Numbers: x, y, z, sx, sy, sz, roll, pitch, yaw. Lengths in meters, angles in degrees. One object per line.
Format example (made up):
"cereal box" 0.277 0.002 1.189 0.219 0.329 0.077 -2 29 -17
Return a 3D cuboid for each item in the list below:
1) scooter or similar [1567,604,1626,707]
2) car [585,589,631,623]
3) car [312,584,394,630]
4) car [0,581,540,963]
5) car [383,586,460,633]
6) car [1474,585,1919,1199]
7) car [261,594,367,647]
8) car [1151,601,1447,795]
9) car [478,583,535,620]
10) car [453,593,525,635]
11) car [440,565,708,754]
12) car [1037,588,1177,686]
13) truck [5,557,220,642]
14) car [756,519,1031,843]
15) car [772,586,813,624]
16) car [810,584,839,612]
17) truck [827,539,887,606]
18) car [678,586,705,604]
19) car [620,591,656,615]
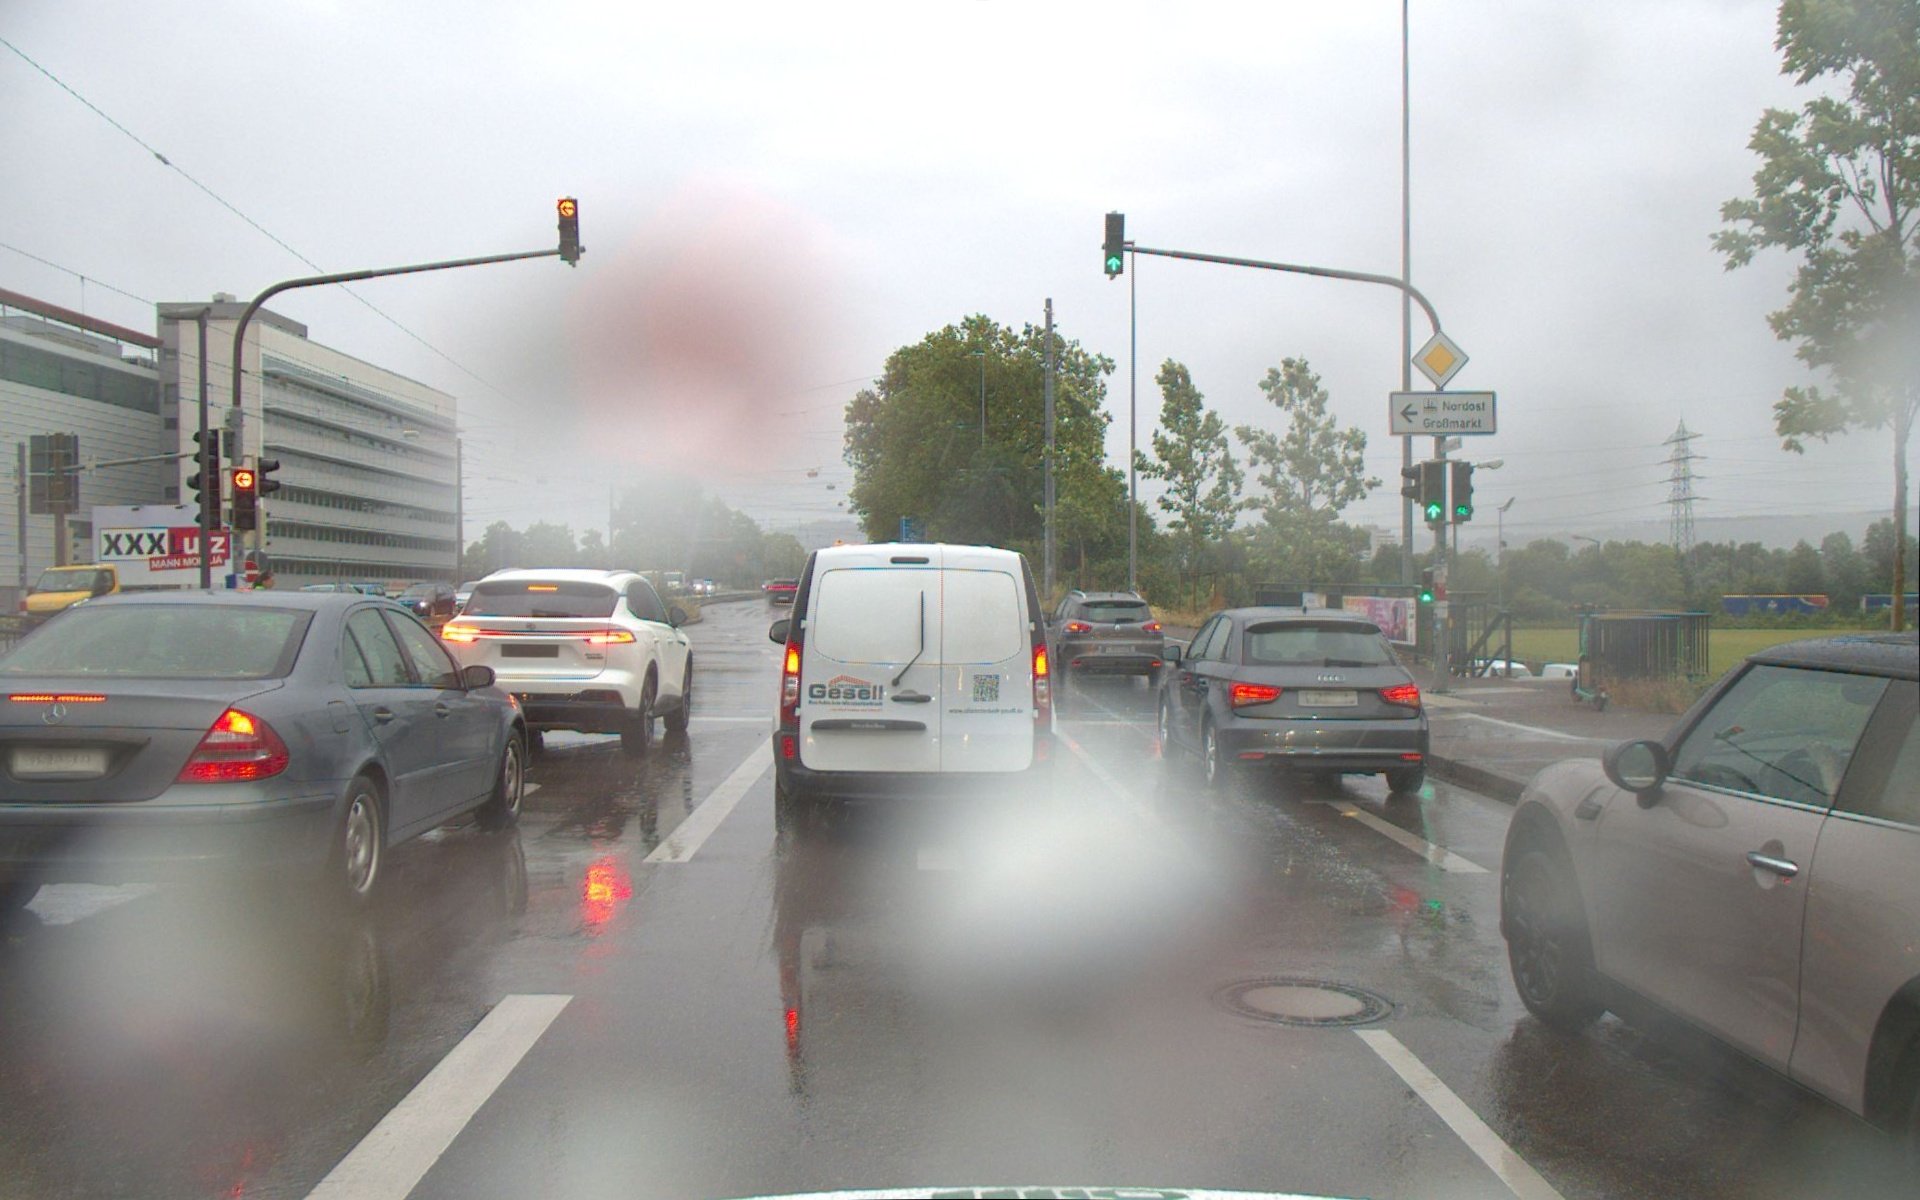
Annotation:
"scooter or similar" 7.567 0.642 19.678 0.240 1.178 1.186 1 0 1
"car" -22.052 0.394 103.640 1.952 2.049 4.000 1 0 1
"car" -24.930 0.324 68.026 1.693 1.690 3.539 1 -3 6
"car" -3.602 0.664 8.529 1.726 1.423 4.644 1 -1 -1
"car" -22.102 0.423 67.985 1.808 1.829 3.999 0 -2 0
"car" 2.904 0.744 4.647 1.679 1.534 3.622 1 0 -2
"car" -22.121 0.691 56.779 1.853 1.729 4.001 1 0 3
"car" 2.651 0.710 13.712 1.596 1.368 3.622 1 0 -2
"car" -25.469 0.087 92.998 1.952 2.049 4.001 1 0 2
"car" -21.620 0.632 76.024 1.889 1.859 4.002 1 0 4
"car" -3.575 0.478 16.060 1.694 1.562 4.296 1 1 -2
"car" 2.340 0.555 27.140 1.822 1.453 3.806 1 1 -2
"truck" -25.279 0.011 49.824 2.303 2.319 7.634 1 0 2
"car" -0.401 0.463 11.345 1.534 1.819 3.999 0 0 -1
"car" -8.653 0.240 85.238 1.956 1.892 3.994 1 0 -7
"car" -9.594 -0.149 117.134 1.955 1.892 3.996 0 0 -5
"truck" -4.658 -1.176 74.988 2.580 2.865 7.140 1 0 -4
"car" -26.914 -0.483 165.644 1.952 1.738 4.000 1 0 1
"car" -22.493 0.226 115.517 1.727 1.577 3.680 1 0 1
